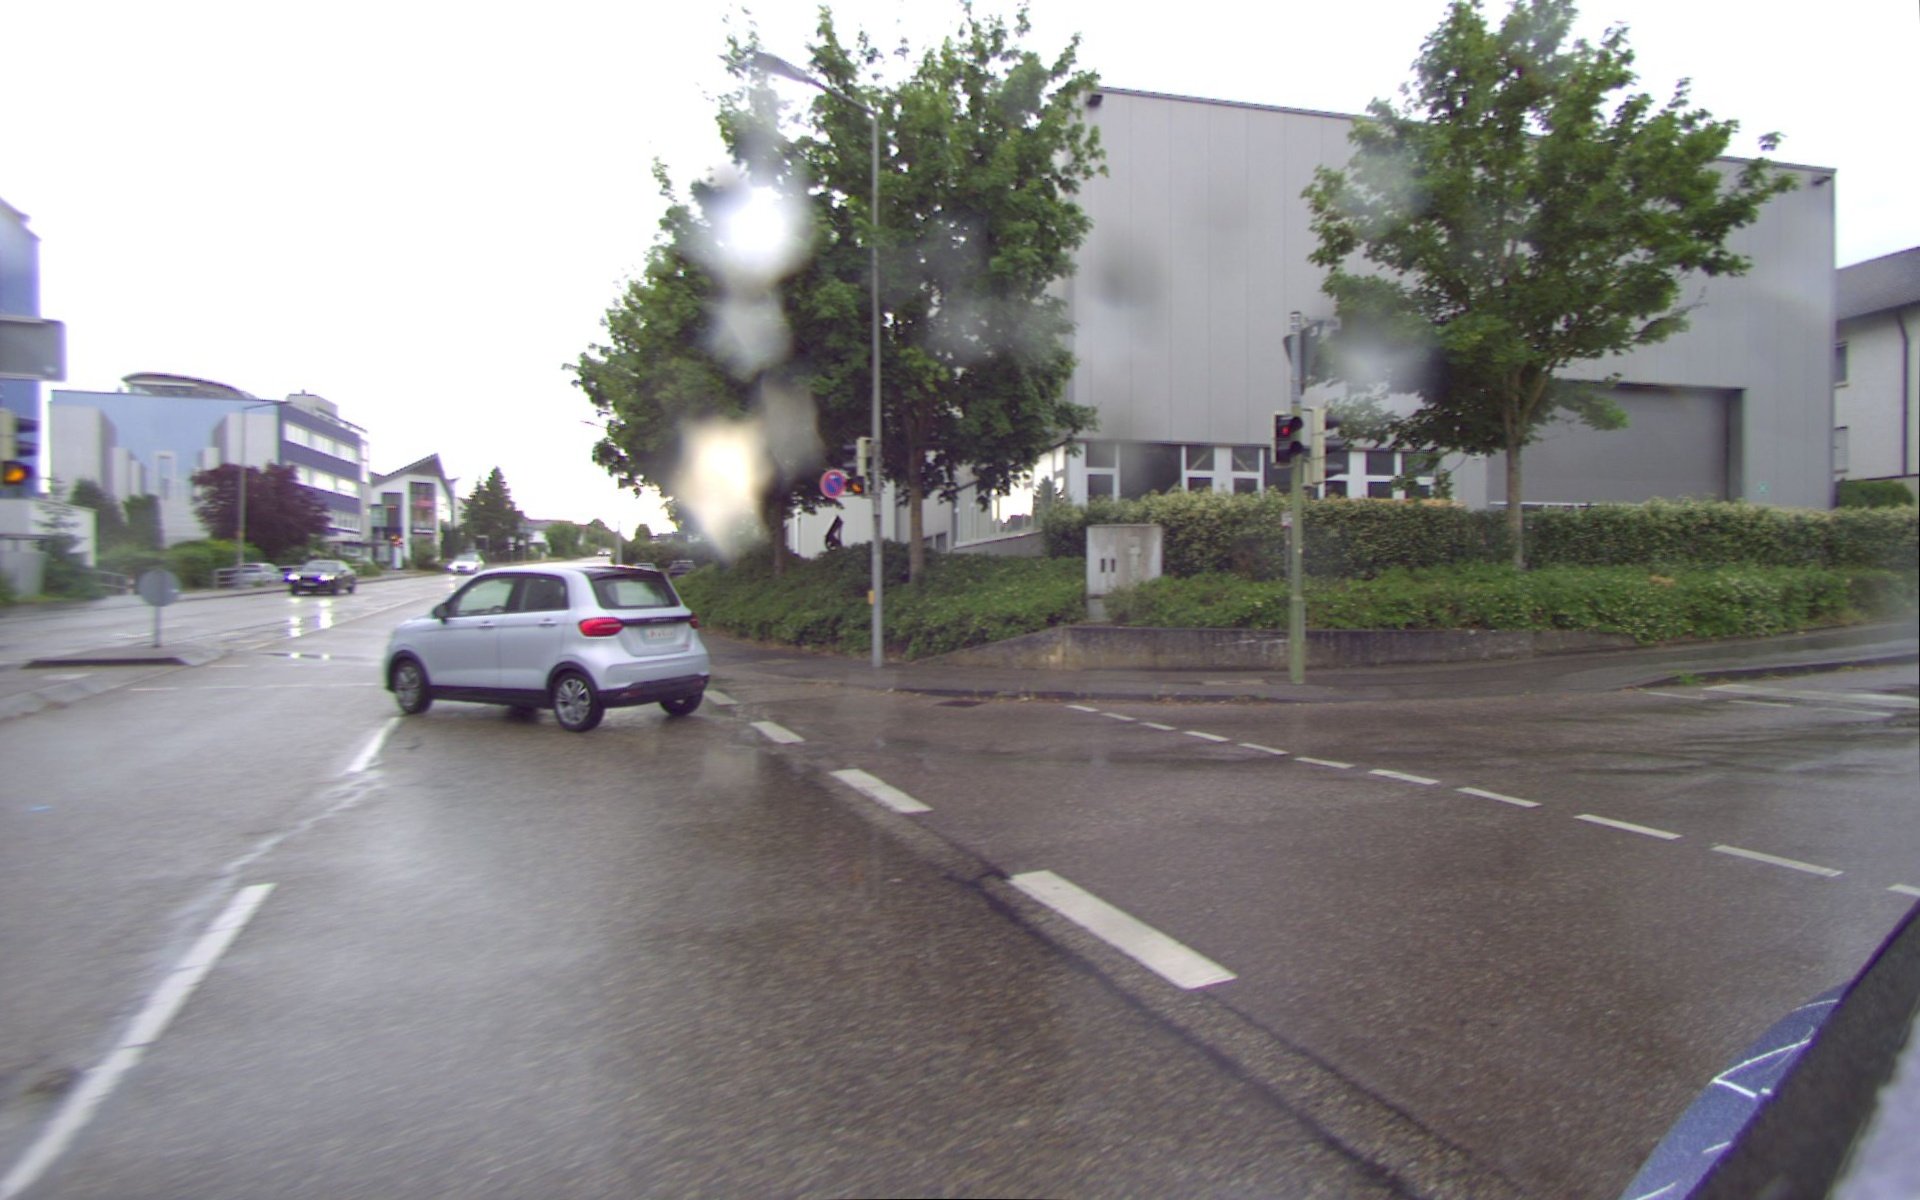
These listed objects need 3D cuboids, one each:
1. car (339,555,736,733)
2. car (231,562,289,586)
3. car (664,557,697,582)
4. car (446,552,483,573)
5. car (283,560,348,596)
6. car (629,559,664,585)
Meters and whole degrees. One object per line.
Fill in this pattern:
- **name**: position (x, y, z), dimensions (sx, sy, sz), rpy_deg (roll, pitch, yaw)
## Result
- **car**: position (-4.474, 0.373, 10.706), dimensions (3.865, 1.573, 1.681), rpy_deg (0, 3, 25)
- **car**: position (-40.191, -1.510, 58.155), dimensions (1.625, 1.303, 3.891), rpy_deg (-2, 2, -18)
- **car**: position (-17.341, -1.889, 62.929), dimensions (1.702, 1.497, 4.029), rpy_deg (-1, 2, -12)
- **car**: position (-39.465, -2.977, 80.691), dimensions (1.860, 1.563, 4.030), rpy_deg (-3, 3, -15)
- **car**: position (-28.641, -0.992, 45.111), dimensions (1.718, 1.497, 4.009), rpy_deg (-2, 2, -22)
- **car**: position (-19.243, -1.723, 62.235), dimensions (1.702, 1.497, 4.029), rpy_deg (-1, 2, -12)
